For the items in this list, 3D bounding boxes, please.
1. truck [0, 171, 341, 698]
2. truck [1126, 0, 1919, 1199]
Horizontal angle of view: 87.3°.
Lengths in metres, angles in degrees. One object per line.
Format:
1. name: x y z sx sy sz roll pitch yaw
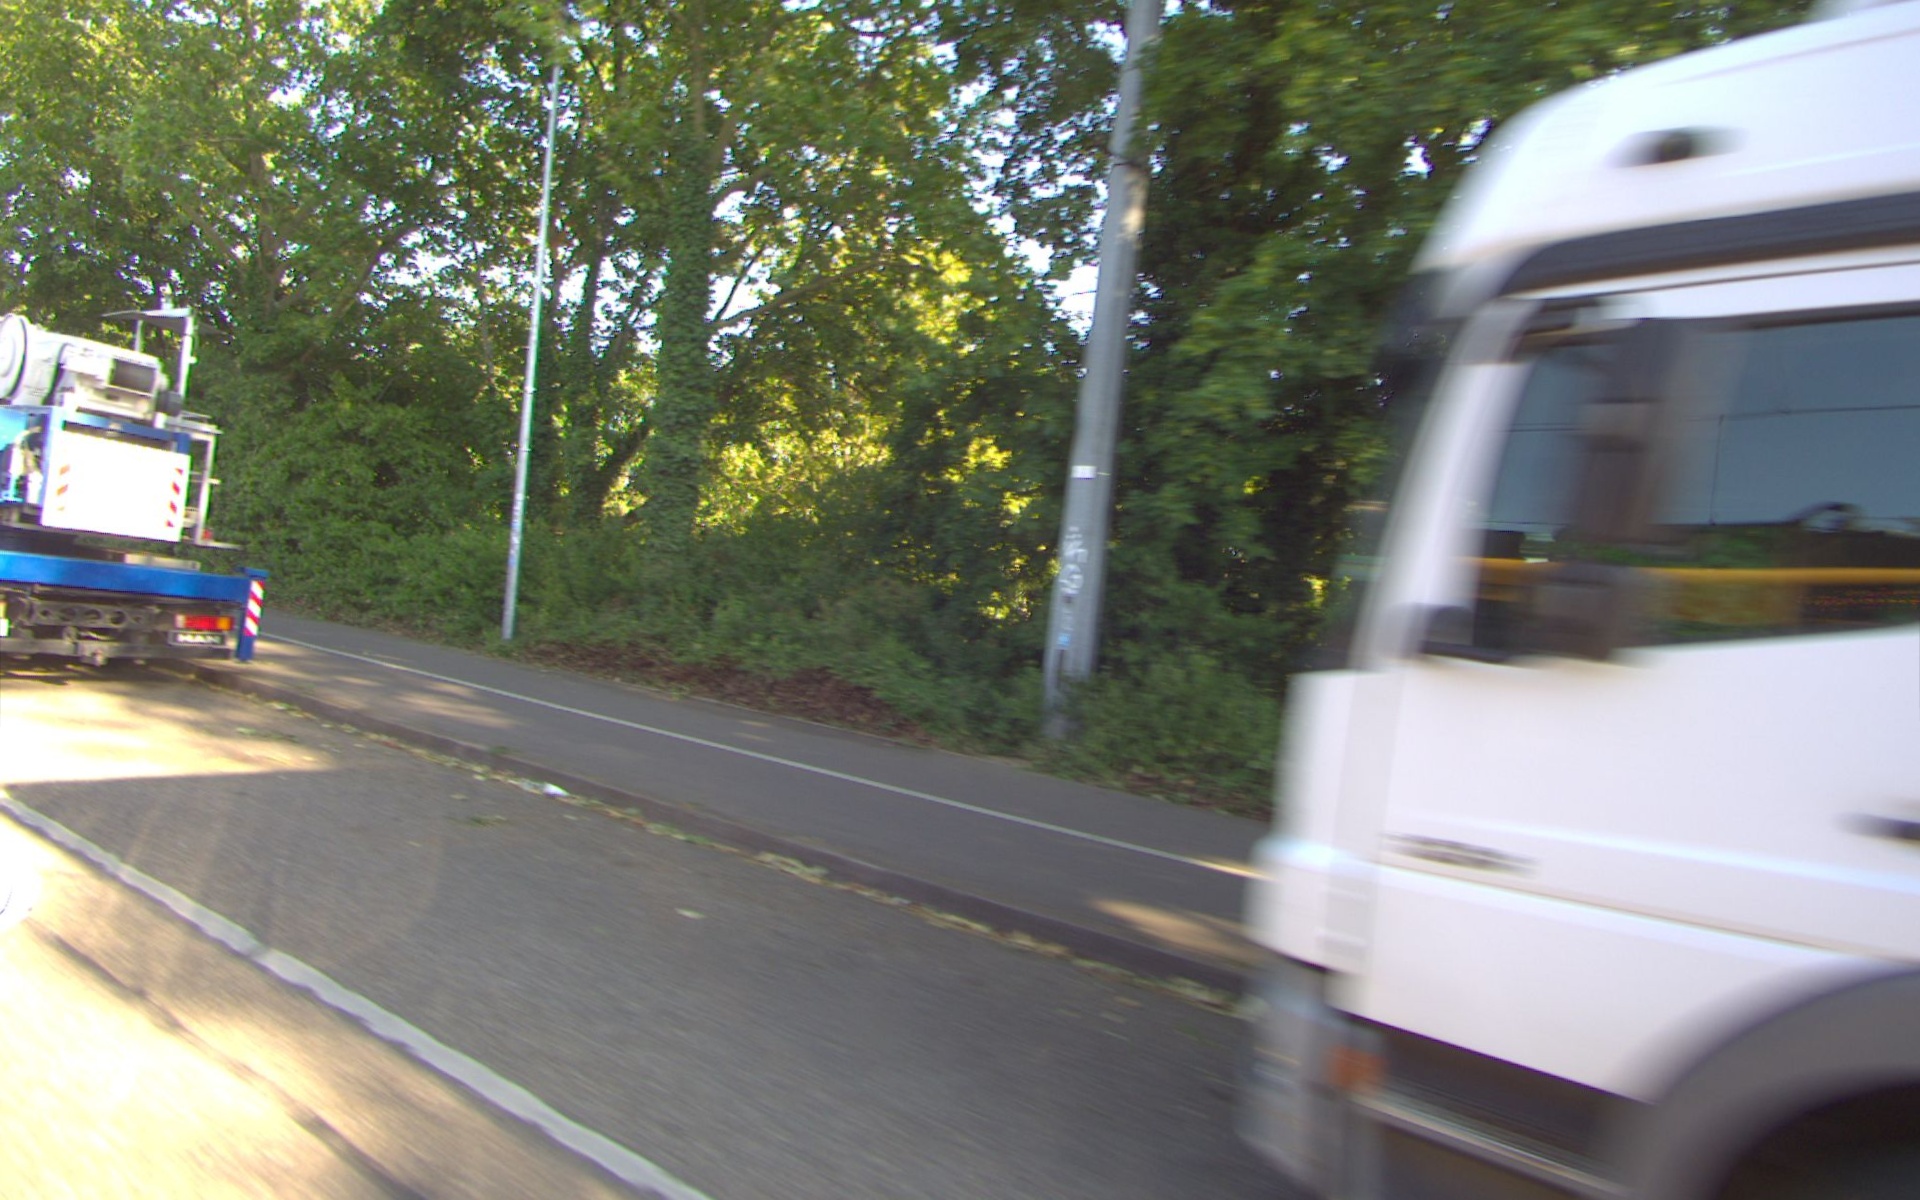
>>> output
1. truck: -10.775 -1.602 10.718 9.598 3.828 2.722 7 -1 31
2. truck: 5.468 0.294 0.802 9.921 3.828 2.747 7 -1 31
